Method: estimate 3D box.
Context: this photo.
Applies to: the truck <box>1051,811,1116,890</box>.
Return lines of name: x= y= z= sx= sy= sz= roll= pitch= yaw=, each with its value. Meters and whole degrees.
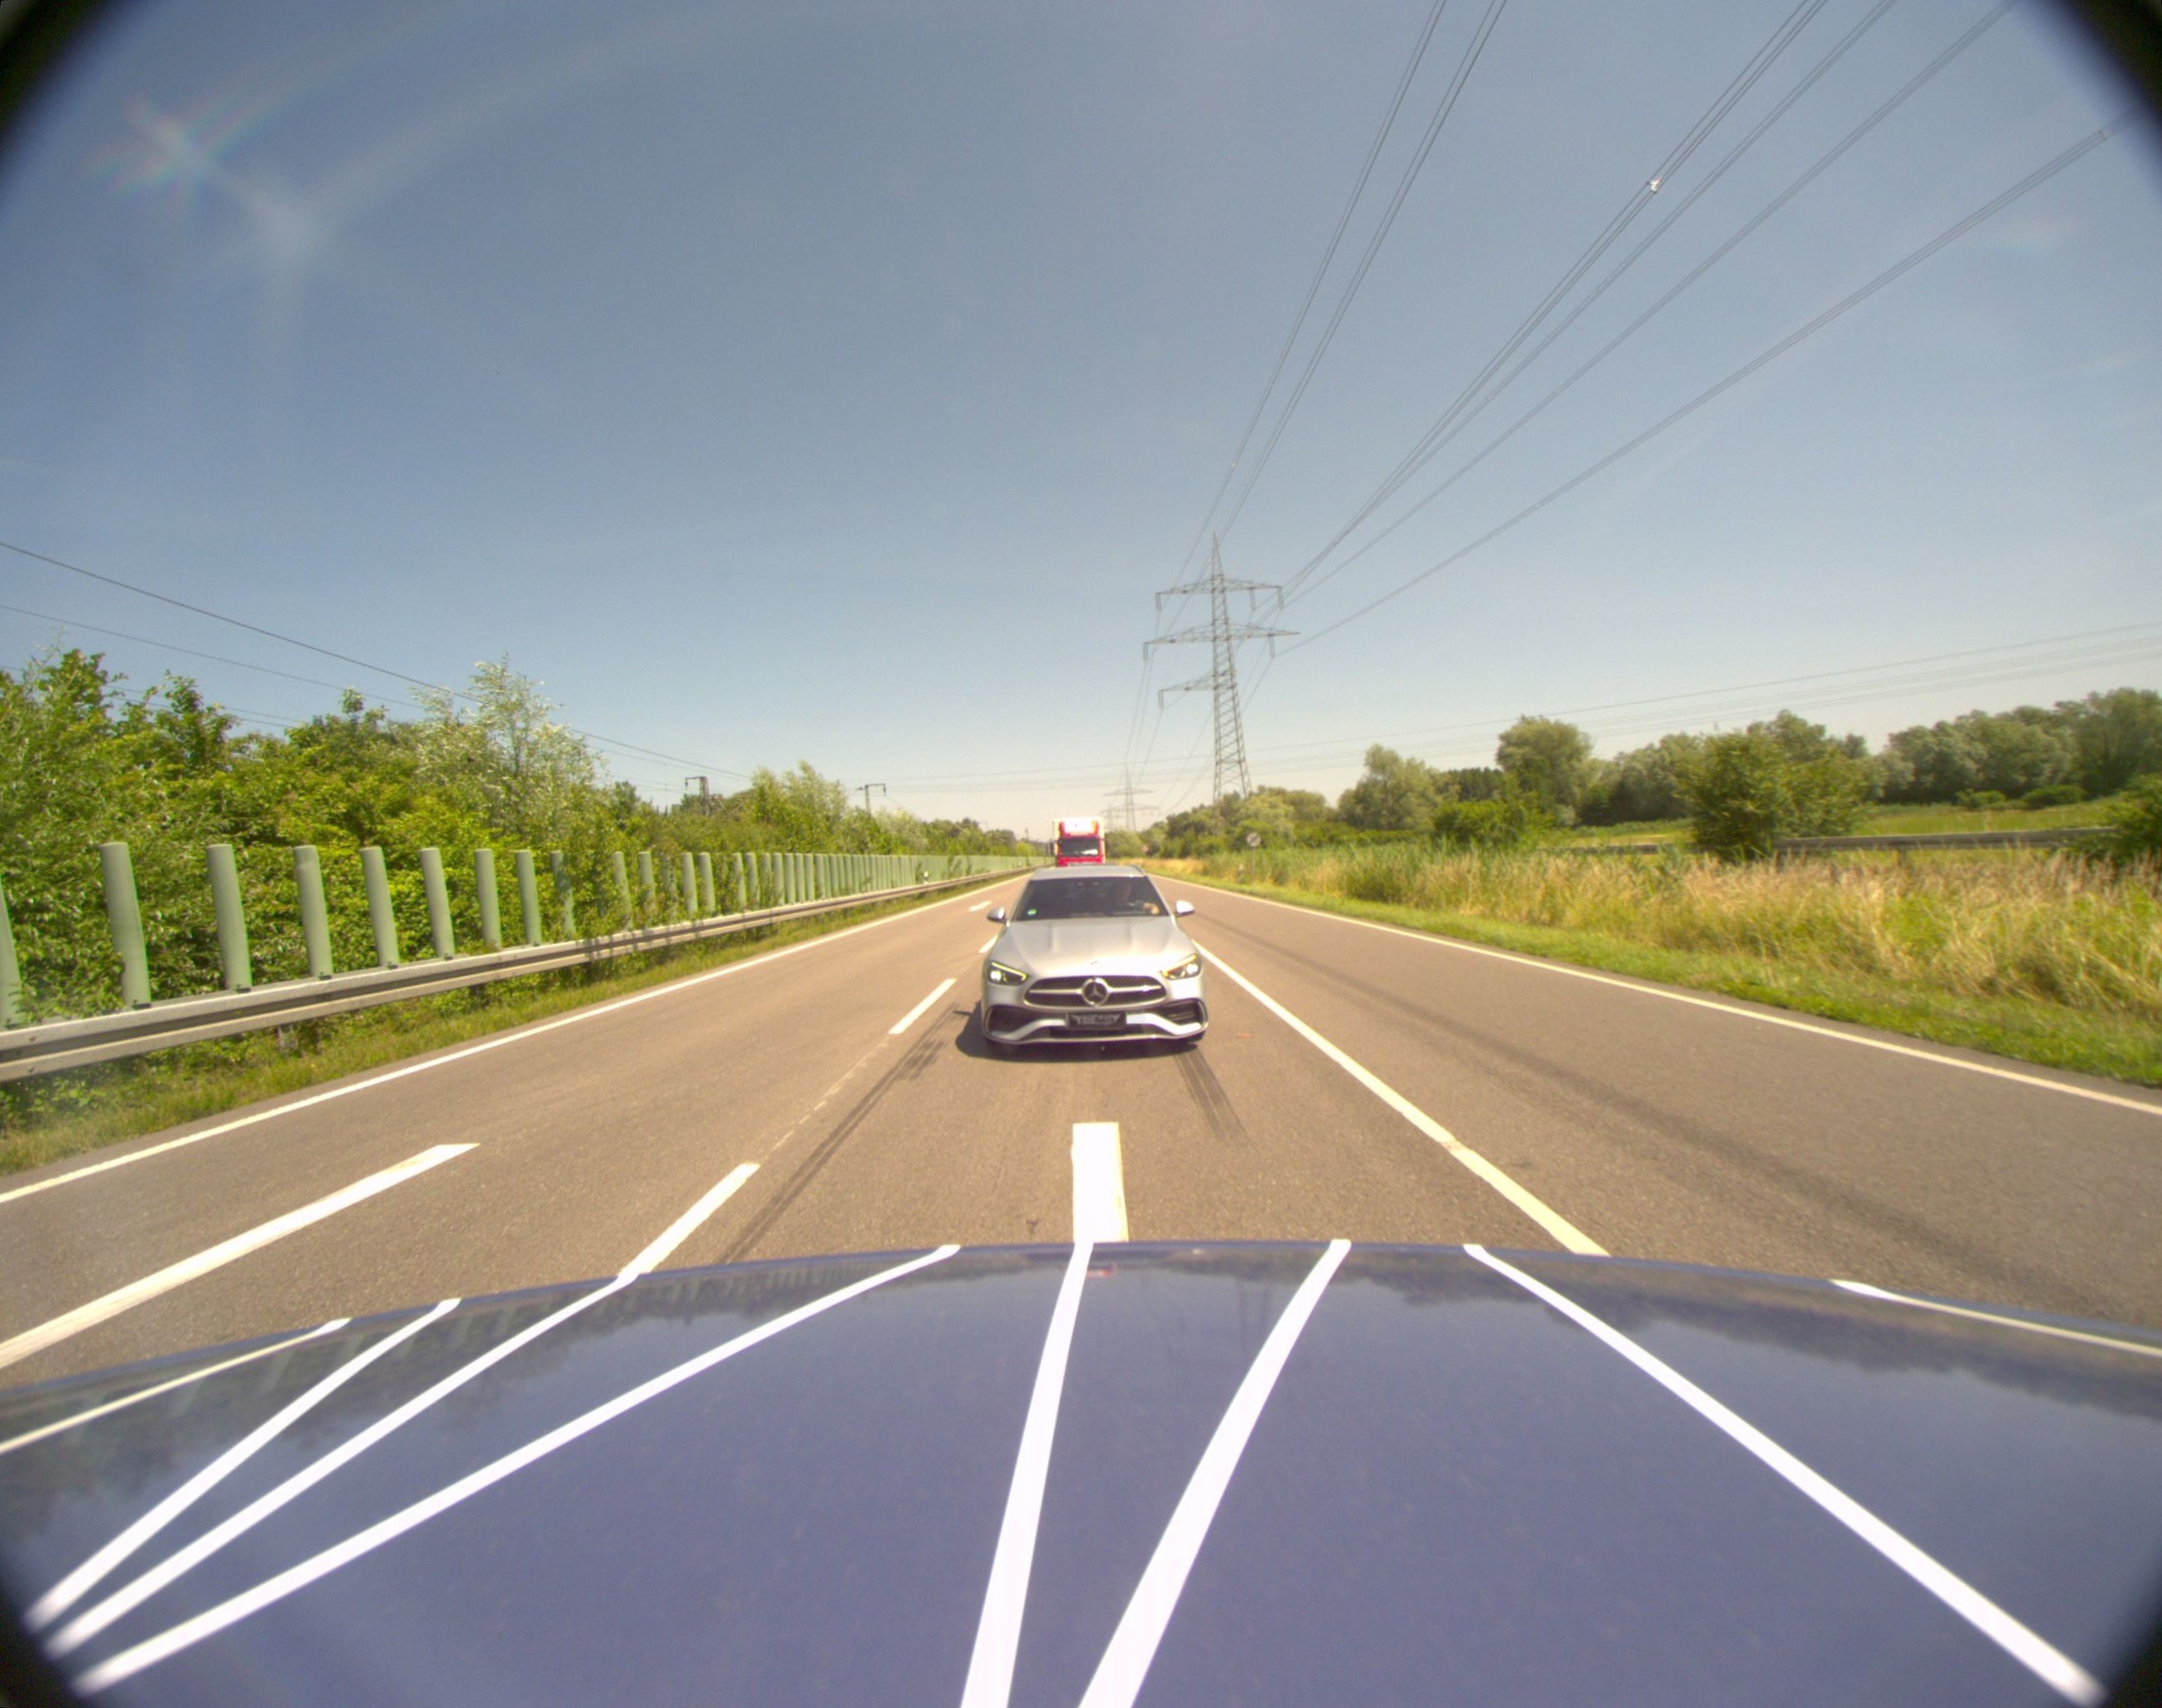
truck: x=0.007 y=-0.165 z=40.492 sx=2.907 sy=3.641 sz=7.155 roll=-4 pitch=0 yaw=-2

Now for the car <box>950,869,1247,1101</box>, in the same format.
car: x=0.142 y=0.948 z=7.462 sx=1.998 sy=1.437 sz=4.467 roll=-2 pitch=0 yaw=1

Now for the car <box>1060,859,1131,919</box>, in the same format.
car: x=0.412 y=0.879 z=20.880 sx=1.698 sy=1.385 sz=4.467 roll=-2 pitch=0 yaw=1

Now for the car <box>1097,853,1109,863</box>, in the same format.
car: x=3.427 y=0.605 z=117.998 sx=1.729 sy=1.432 sz=4.250 roll=-8 pitch=0 yaw=3
